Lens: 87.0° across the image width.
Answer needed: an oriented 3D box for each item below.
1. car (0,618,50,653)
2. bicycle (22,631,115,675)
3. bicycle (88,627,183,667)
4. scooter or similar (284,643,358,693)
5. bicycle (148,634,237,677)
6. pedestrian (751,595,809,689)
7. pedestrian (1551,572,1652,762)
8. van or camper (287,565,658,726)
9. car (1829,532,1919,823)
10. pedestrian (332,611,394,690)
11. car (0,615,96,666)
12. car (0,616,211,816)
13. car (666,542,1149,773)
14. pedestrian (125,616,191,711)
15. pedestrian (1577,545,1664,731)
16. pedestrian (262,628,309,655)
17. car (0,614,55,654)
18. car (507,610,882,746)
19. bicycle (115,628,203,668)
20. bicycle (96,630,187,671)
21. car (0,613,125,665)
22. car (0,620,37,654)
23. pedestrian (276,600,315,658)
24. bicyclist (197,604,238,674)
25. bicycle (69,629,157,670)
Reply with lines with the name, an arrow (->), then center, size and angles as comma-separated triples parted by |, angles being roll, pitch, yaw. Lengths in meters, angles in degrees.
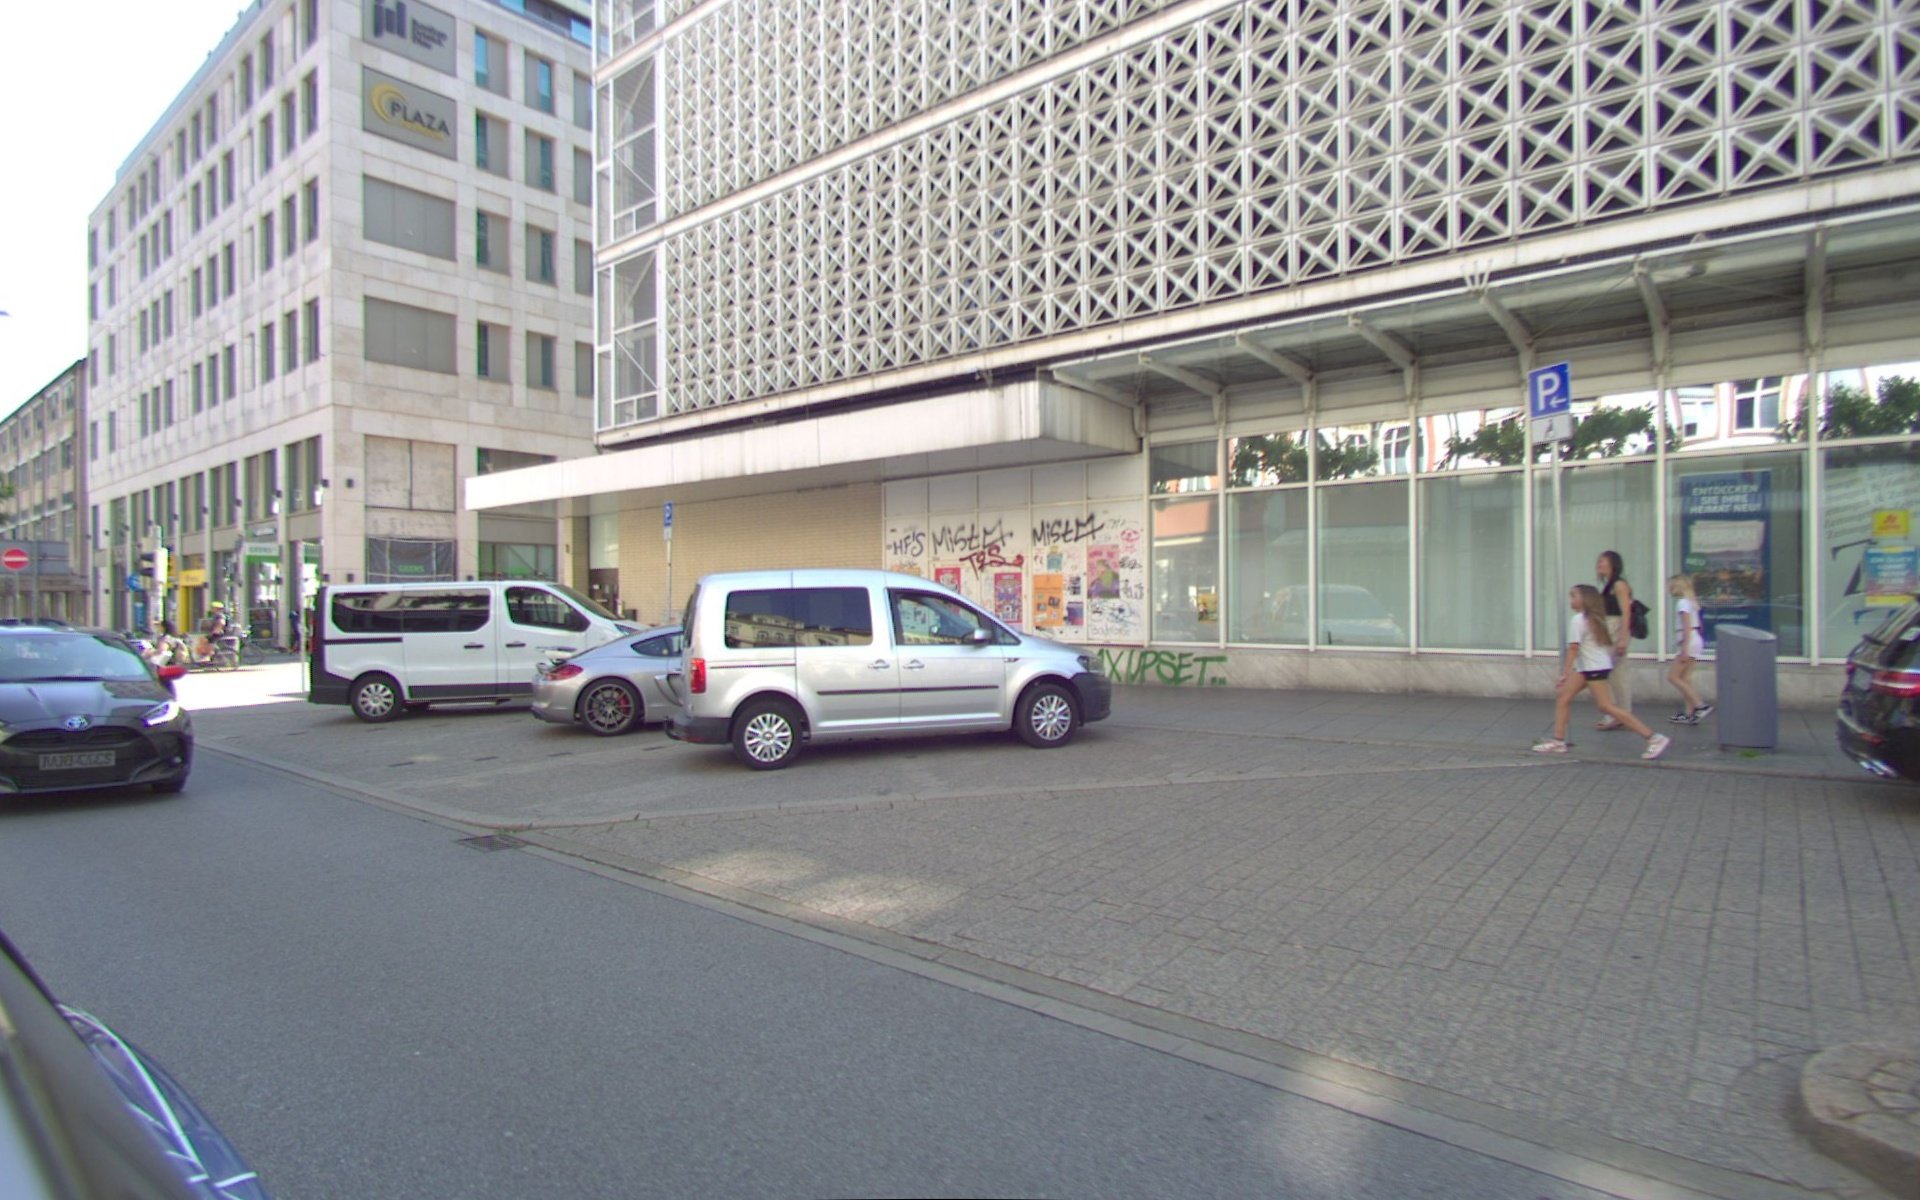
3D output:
car -> -45.945, 1.817, 47.500 | 4.426, 1.443, 1.869 | -6, 3, -31
bicycle -> -25.693, 1.511, 29.194 | 2.033, 1.182, 0.606 | -1, 1, -5
bicycle -> -26.761, 1.517, 32.892 | 2.289, 1.135, 0.564 | -3, 1, -25
scooter or similar -> -13.340, 1.399, 21.139 | 0.895, 0.972, 0.967 | -1, 0, 19
bicycle -> -22.019, 1.576, 29.063 | 1.963, 1.135, 0.800 | 0, -2, -43
pedestrian -> -3.261, 0.744, 18.316 | 0.863, 1.648, 0.582 | -1, 0, 41
pedestrian -> 5.207, 0.512, 8.210 | 0.640, 1.447, 0.587 | 0, 3, 38
van or camper -> -7.016, 0.605, 15.099 | 4.585, 2.029, 2.004 | -2, 0, -11
car -> 7.542, 0.386, 5.251 | 4.391, 1.622, 1.976 | -1, 0, 36
pedestrian -> -13.052, 1.100, 22.153 | 0.835, 1.671, 0.839 | -2, -3, 20
car -> -35.447, 1.555, 38.243 | 4.108, 1.649, 2.105 | -5, 3, -42
car -> -8.460, 0.956, 9.187 | 4.105, 1.489, 1.843 | -3, -4, 42
car -> -0.595, 0.477, 10.077 | 4.372, 1.924, 2.015 | -1, -1, -13
pedestrian -> -13.712, 1.070, 17.315 | 0.678, 1.571, 0.635 | -2, 0, 28
pedestrian -> 6.313, 0.330, 9.656 | 0.640, 1.673, 0.780 | 0, 3, 37
pedestrian -> -24.477, 1.491, 36.748 | 0.840, 0.932, 1.237 | -2, -1, 38
car -> -43.362, 1.641, 45.130 | 3.970, 1.604, 1.825 | -5, 3, -17
car -> -3.311, 0.879, 12.825 | 4.225, 1.296, 1.977 | -2, 1, -19
bicycle -> -24.792, 1.470, 31.346 | 2.028, 1.135, 0.649 | -1, -1, -24
bicycle -> -24.329, 1.499, 30.113 | 2.030, 1.178, 0.607 | 0, -1, -13
car -> -32.695, 1.396, 36.230 | 3.965, 1.614, 1.965 | -3, 2, -27
car -> -48.102, 1.896, 49.592 | 1.818, 1.539, 3.949 | 1, 4, 39
pedestrian -> -22.804, 0.984, 34.733 | 0.844, 1.892, 0.830 | -1, 3, 40
bicyclist -> -21.588, 1.118, 29.413 | 0.832, 1.975, 1.018 | 0, -1, -44
bicycle -> -26.767, 1.553, 32.027 | 2.029, 1.135, 0.564 | -3, 0, -25
